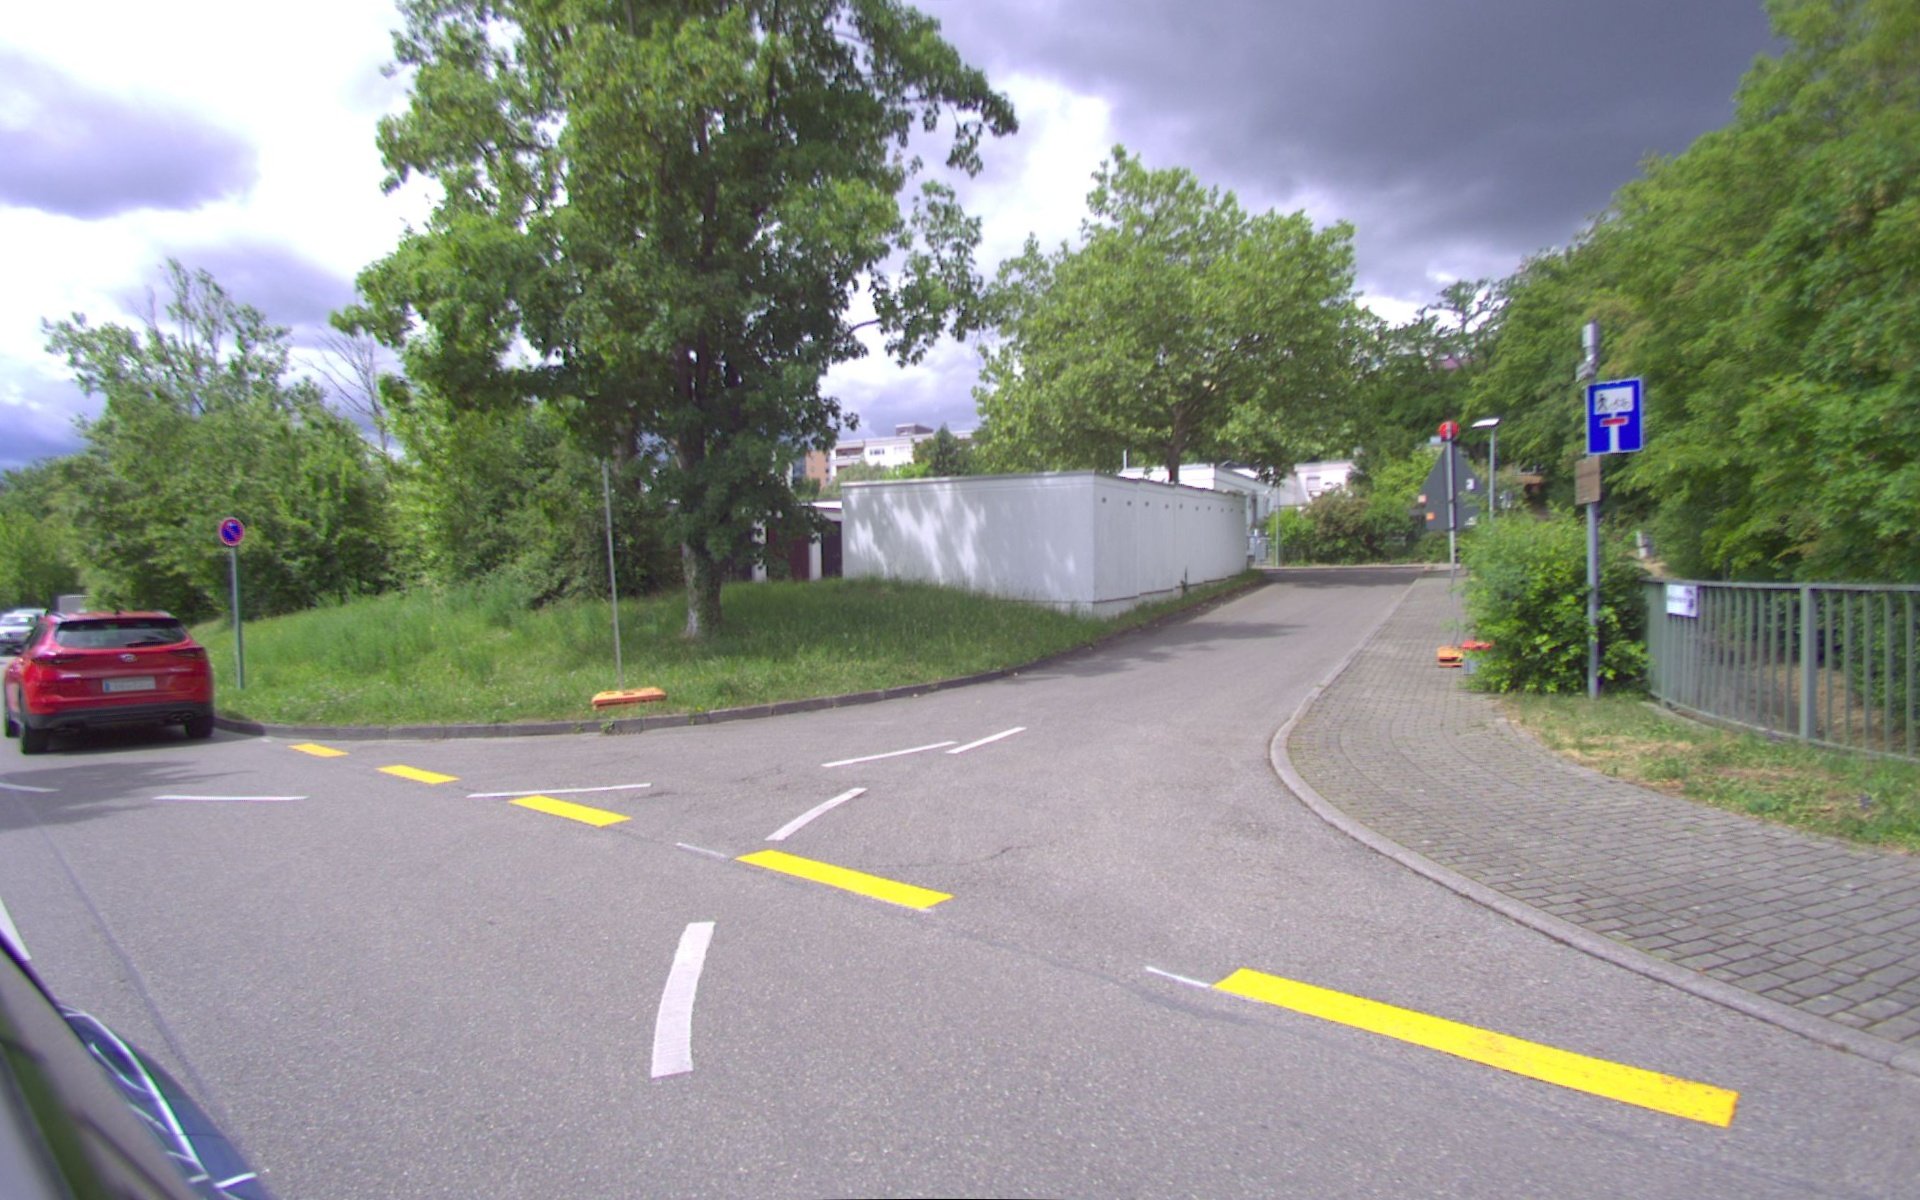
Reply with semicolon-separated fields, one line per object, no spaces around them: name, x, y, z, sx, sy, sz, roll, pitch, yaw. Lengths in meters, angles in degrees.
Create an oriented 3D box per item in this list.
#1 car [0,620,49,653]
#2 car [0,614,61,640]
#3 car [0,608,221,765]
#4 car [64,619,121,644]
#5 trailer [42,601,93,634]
car;-45.328;1.743;48.581;1.767;1.520;4.123;2;-2;-34
car;-57.176;1.626;62.220;1.837;1.488;4.917;1;0;-30
car;-11.250;1.003;13.212;4.222;1.671;1.823;-2;0;43
car;-54.356;1.951;63.489;1.766;1.520;4.126;2;-2;-27
trailer;-61.501;1.184;69.763;1.705;2.094;3.796;1;1;-27
